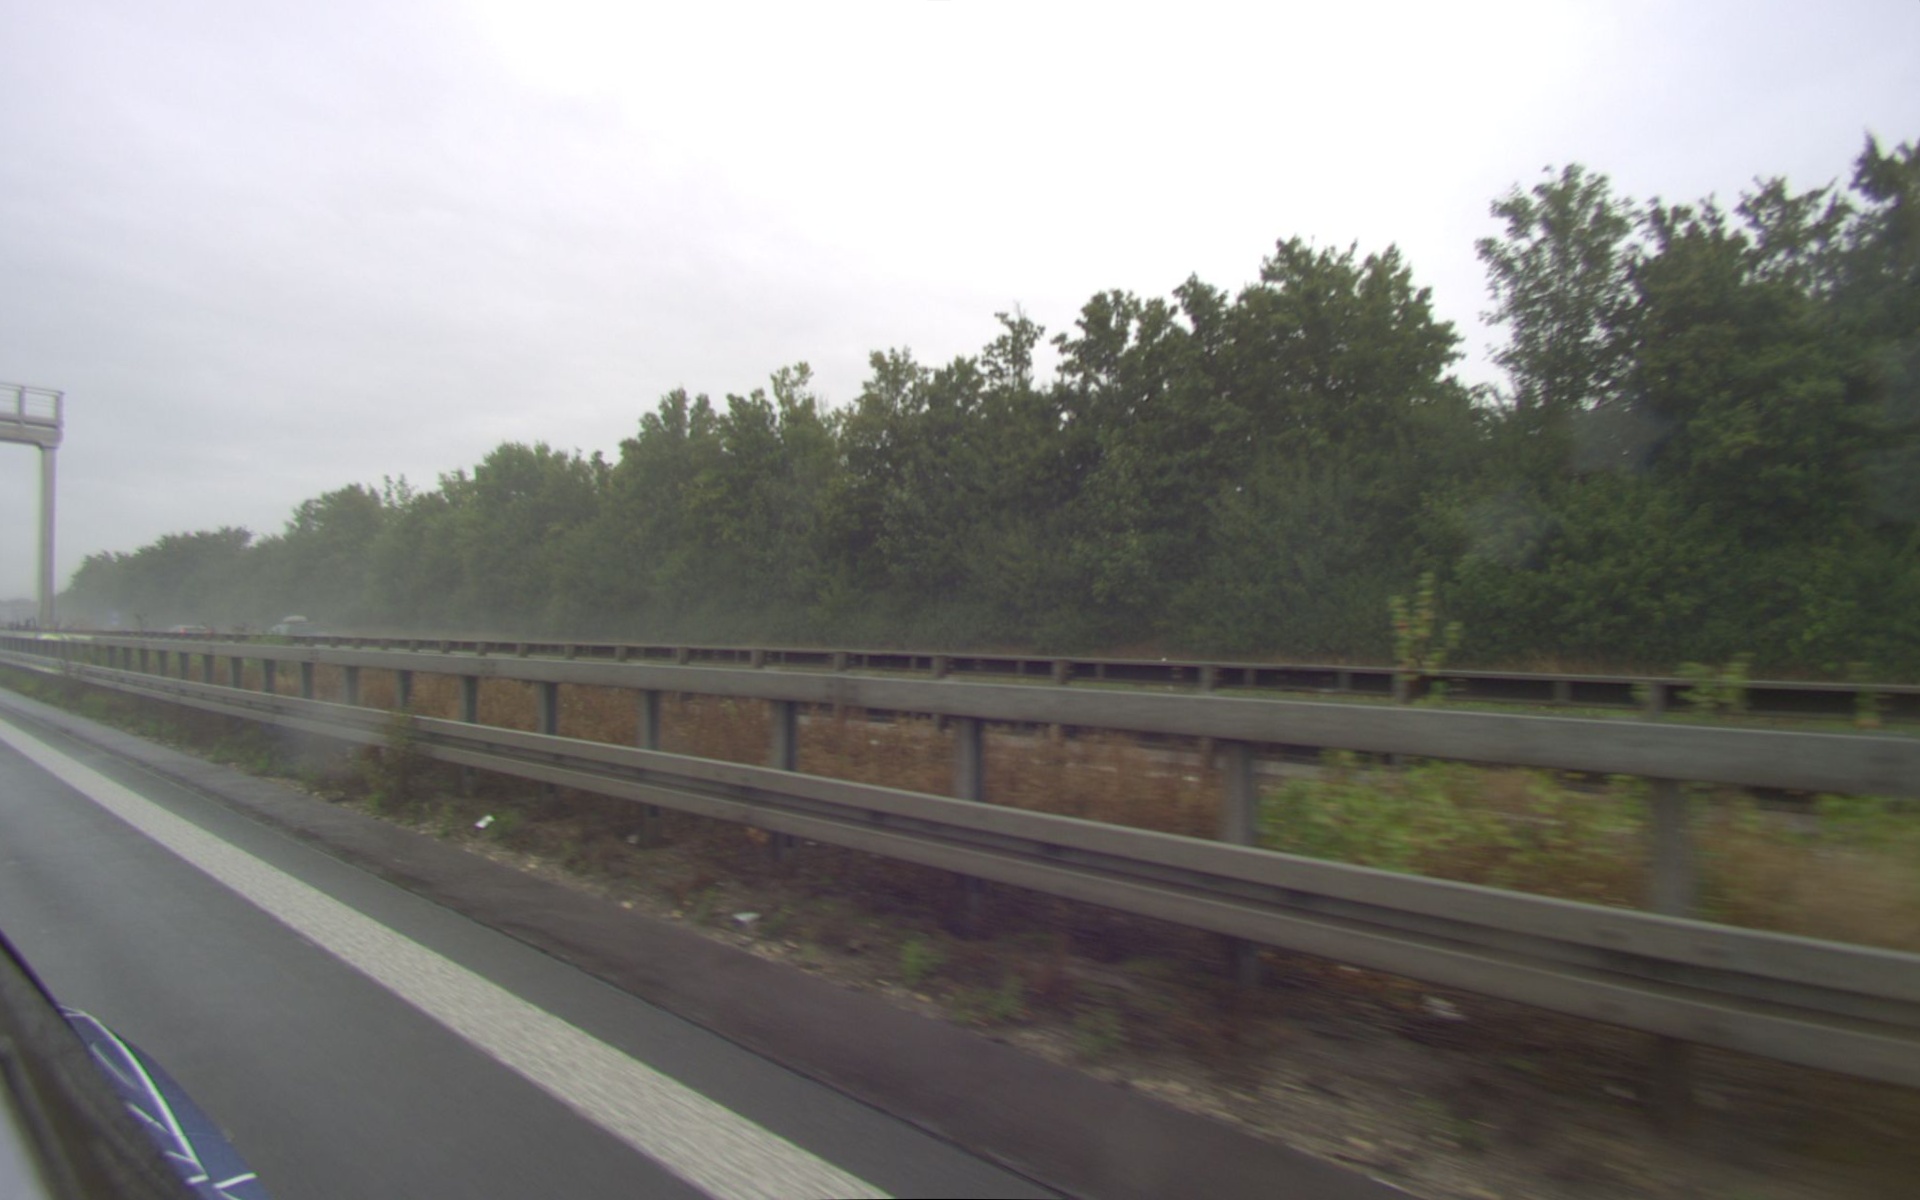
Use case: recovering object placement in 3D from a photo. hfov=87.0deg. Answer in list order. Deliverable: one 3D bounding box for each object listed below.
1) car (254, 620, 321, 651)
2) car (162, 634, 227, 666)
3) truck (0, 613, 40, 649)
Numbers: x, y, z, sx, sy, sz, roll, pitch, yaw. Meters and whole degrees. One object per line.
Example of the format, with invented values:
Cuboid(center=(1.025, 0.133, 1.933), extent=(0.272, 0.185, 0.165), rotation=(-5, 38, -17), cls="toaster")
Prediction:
Cuboid(center=(-39.121, 2.085, 58.859), extent=(4.778, 1.674, 1.973), rotation=(-2, -1, 40), cls="car")
Cuboid(center=(-44.138, 2.865, 58.318), extent=(4.778, 1.674, 1.973), rotation=(-2, -1, 40), cls="car")
Cuboid(center=(-130.514, 4.348, 139.742), extent=(17.086, 4.710, 2.935), rotation=(-2, -1, 40), cls="truck")
